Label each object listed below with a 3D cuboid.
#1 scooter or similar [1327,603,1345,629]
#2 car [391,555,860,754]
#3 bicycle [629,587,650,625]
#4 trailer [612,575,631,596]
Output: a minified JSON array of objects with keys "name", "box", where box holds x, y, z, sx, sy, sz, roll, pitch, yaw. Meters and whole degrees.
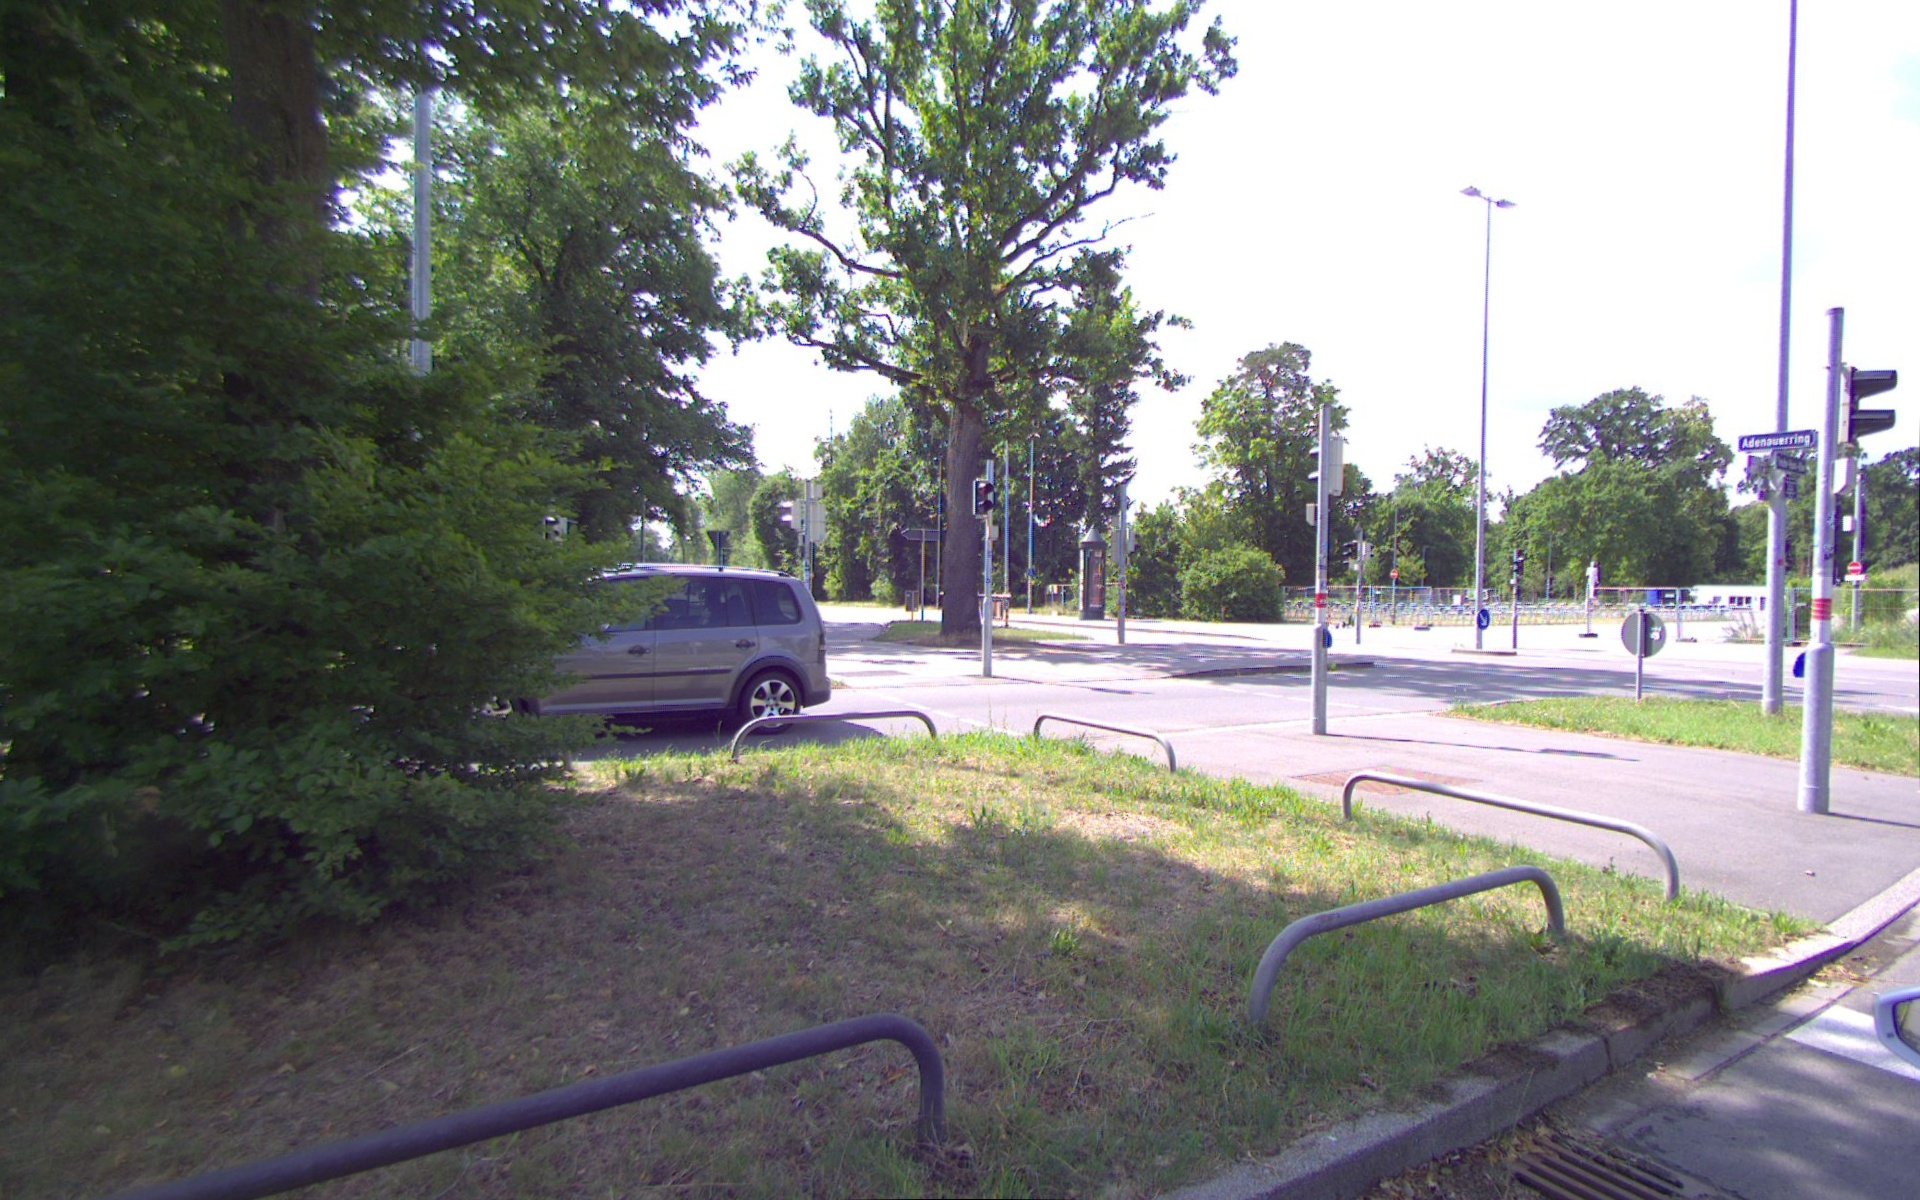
[{"name":"scooter or similar","box":[18.367,0.769,49.104,0.399,1.216,1.312,0,1,0]},{"name":"car","box":[-3.320,0.435,10.177,4.249,1.652,1.752,0,2,-30]},{"name":"bicycle","box":[-10.511,0.190,32.936,0.413,1.189,1.228,2,0,-8]},{"name":"trailer","box":[-42.351,-1.808,125.707,1.971,2.420,3.979,2,0,-22]}]
